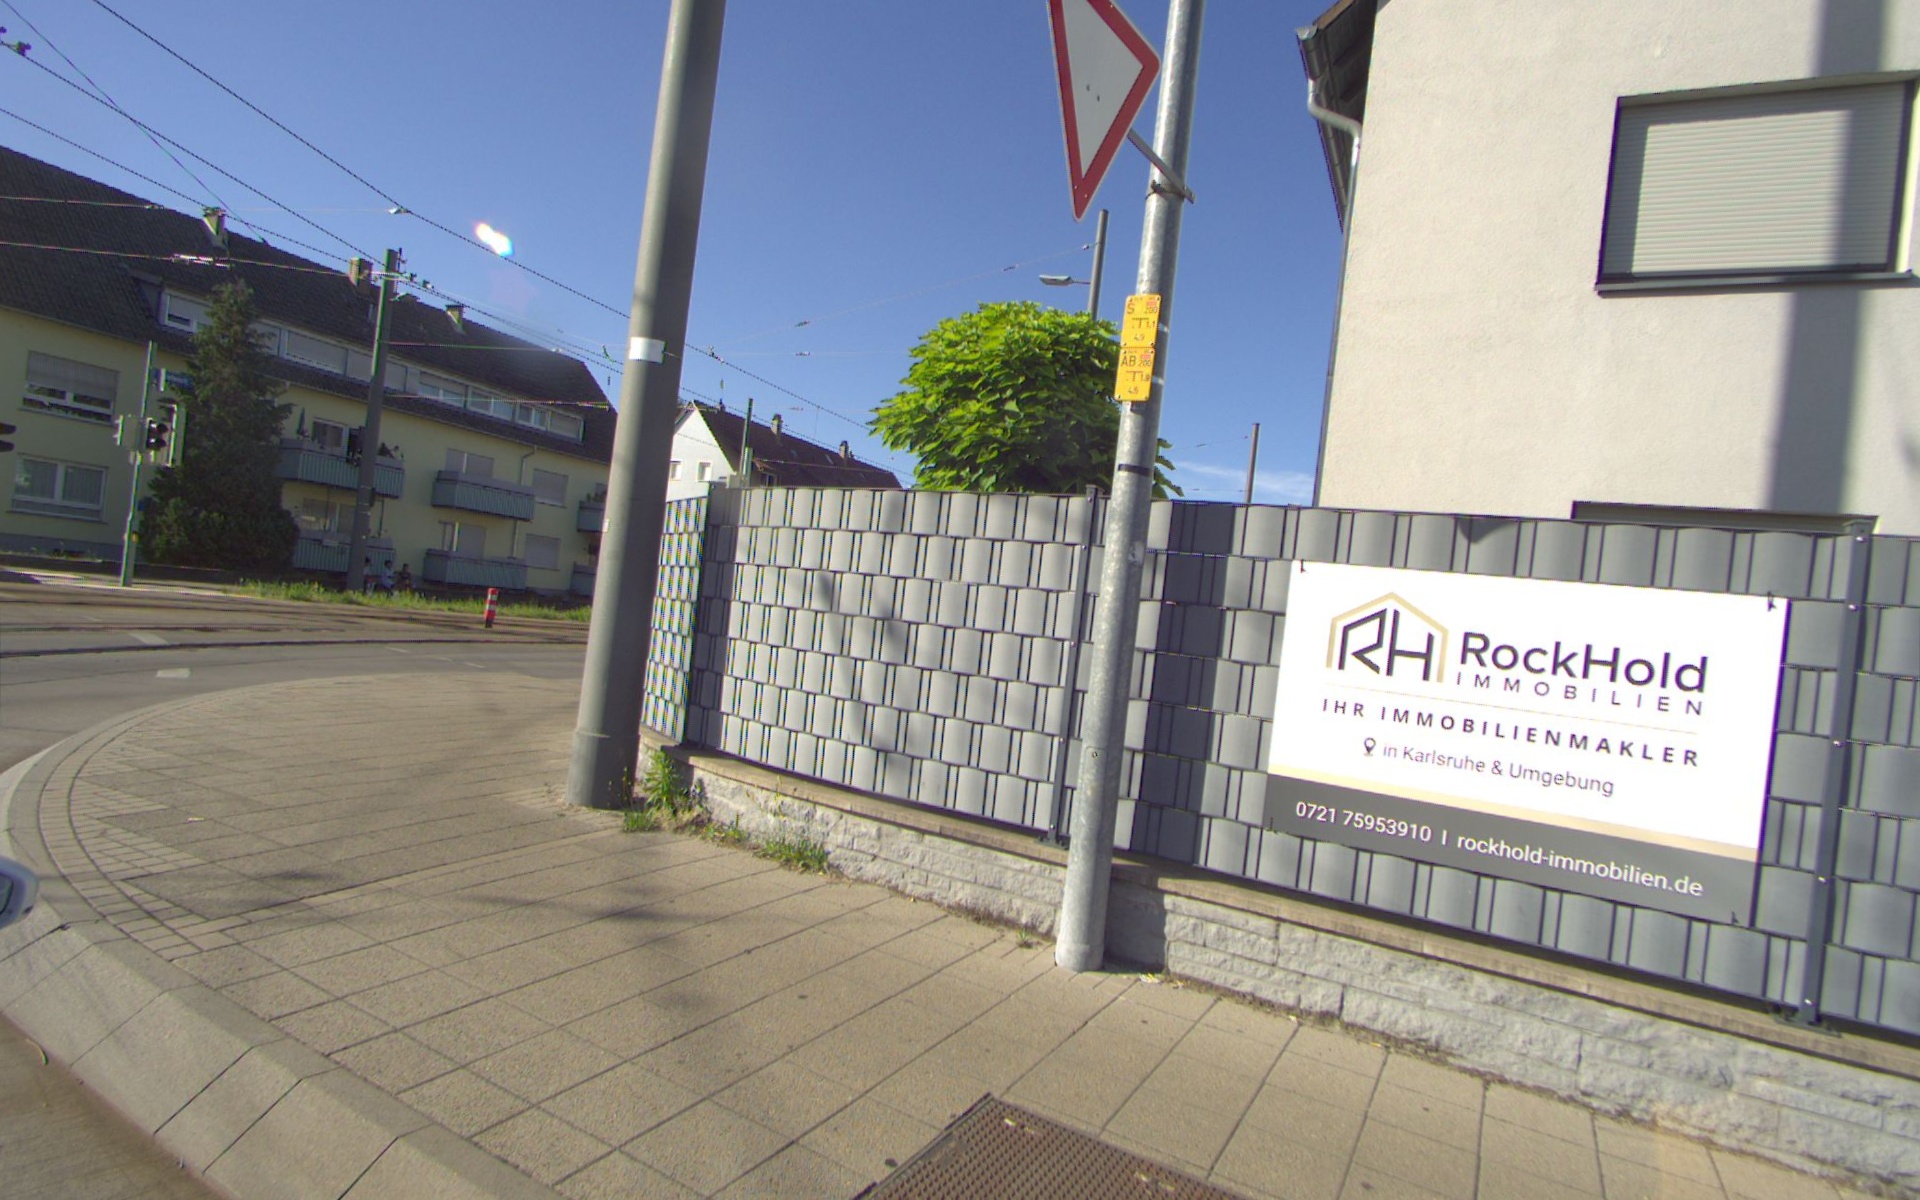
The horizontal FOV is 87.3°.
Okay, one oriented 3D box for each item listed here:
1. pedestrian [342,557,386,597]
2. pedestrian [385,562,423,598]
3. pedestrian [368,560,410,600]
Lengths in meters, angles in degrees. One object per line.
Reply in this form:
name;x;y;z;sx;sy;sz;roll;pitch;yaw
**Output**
pedestrian;-17.810;-0.675;30.082;0.805;1.059;0.688;7;-1;24
pedestrian;-17.411;-0.621;31.528;0.710;1.017;0.596;7;-2;3
pedestrian;-17.534;-0.608;30.901;0.806;1.077;0.626;8;-2;-6
